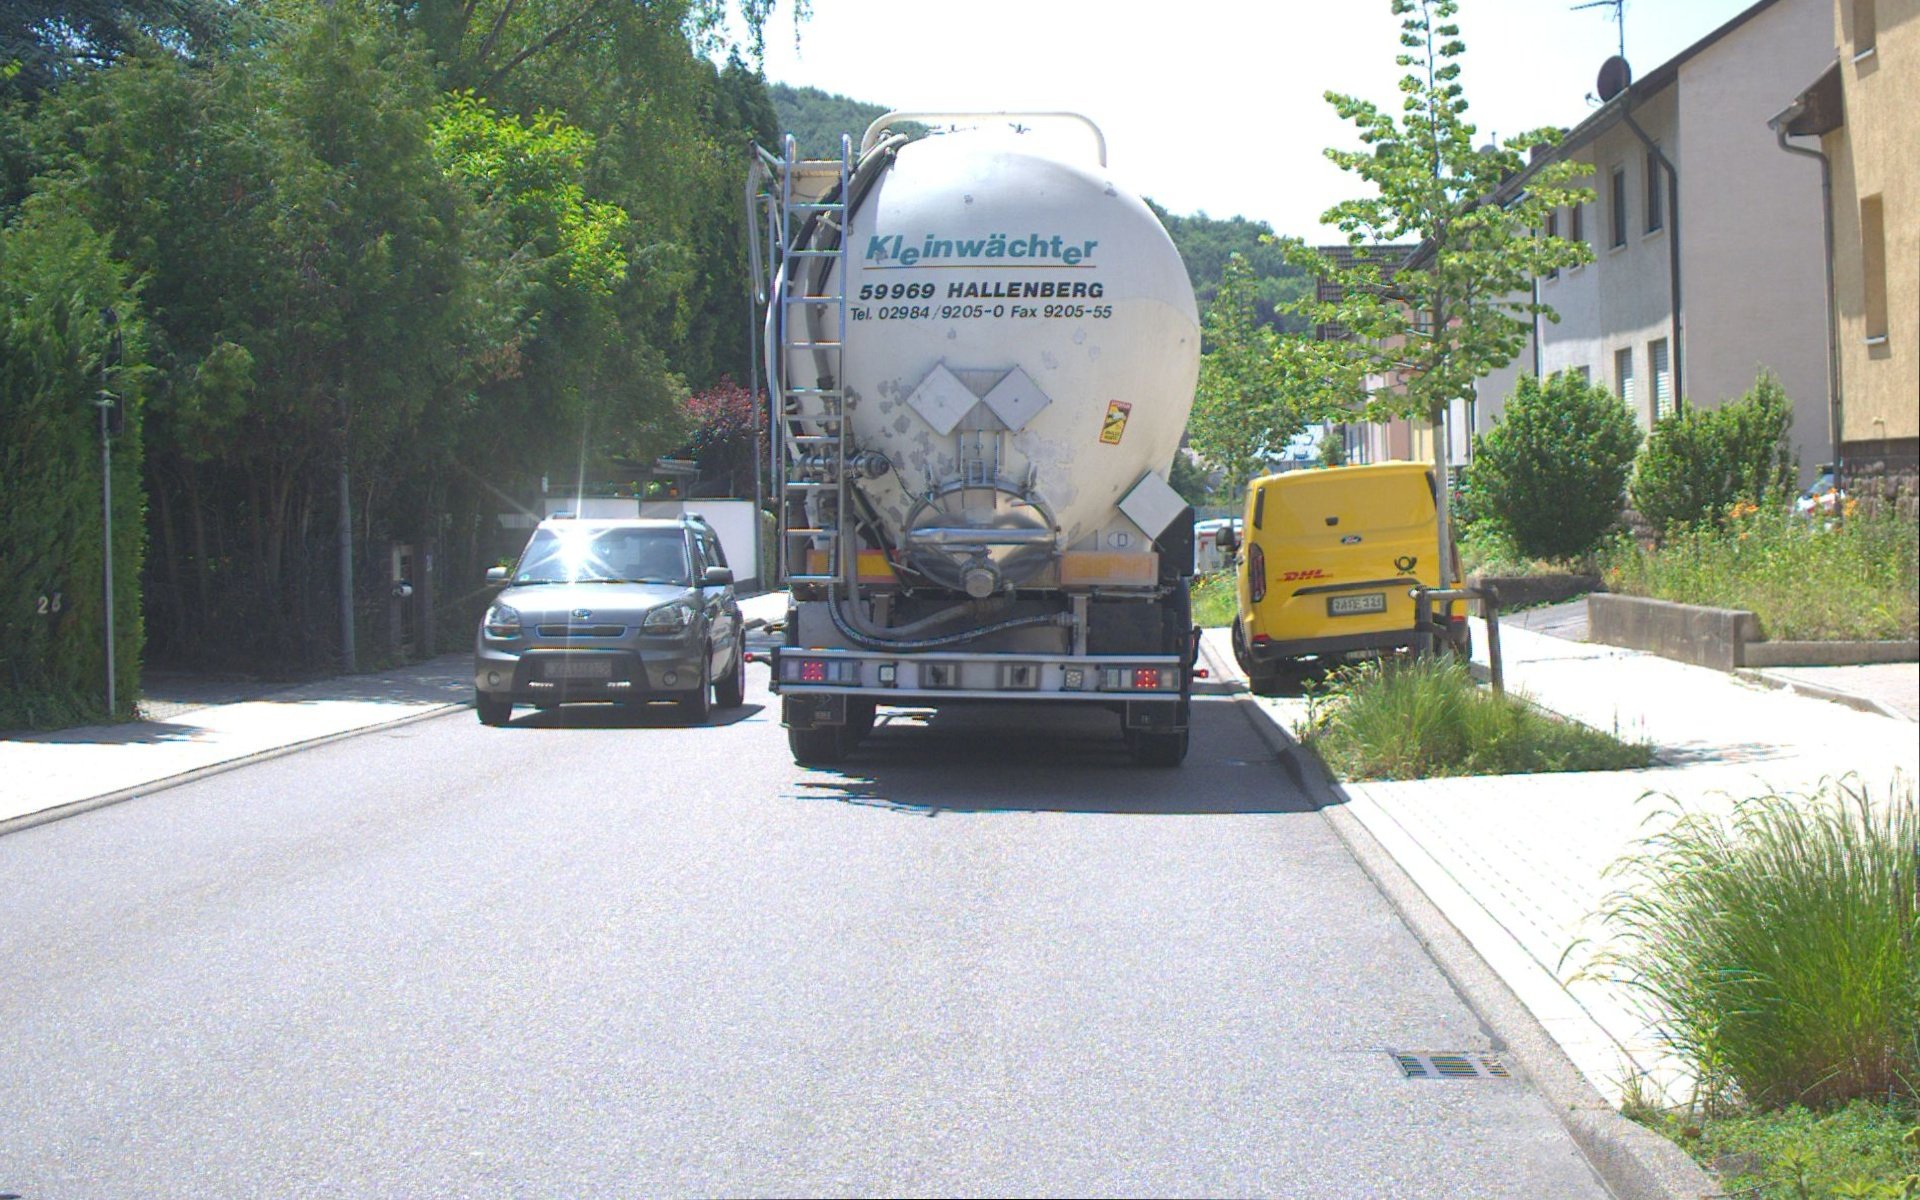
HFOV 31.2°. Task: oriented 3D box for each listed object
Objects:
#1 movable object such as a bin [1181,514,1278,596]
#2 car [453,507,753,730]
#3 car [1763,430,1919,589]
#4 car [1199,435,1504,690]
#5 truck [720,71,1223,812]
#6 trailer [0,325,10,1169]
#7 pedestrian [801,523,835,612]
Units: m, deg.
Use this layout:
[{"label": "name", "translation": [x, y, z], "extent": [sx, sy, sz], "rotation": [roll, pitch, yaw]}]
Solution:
[{"label": "movable object such as a bin", "translation": [4.836, -0.804, 62.073], "extent": [1.572, 1.412, 3.041], "rotation": [-2, 0, 2]}, {"label": "car", "translation": [-2.804, 0.087, 27.782], "extent": [1.867, 1.647, 3.949], "rotation": [1, 2, 2]}, {"label": "car", "translation": [11.366, -1.114, 38.994], "extent": [3.987, 1.671, 1.874], "rotation": [-4, 1, 0]}, {"label": "car", "translation": [3.563, -0.348, 32.390], "extent": [2.189, 2.007, 5.623], "rotation": [-5, 0, 1]}, {"label": "truck", "translation": [0.311, -0.996, 24.289], "extent": [2.750, 4.043, 10.889], "rotation": [0, 1, 3]}, {"label": "trailer", "translation": [-3.355, 0.364, 5.017], "extent": [2.155, 1.980, 6.201], "rotation": [1, 0, 1]}, {"label": "pedestrian", "translation": [-3.237, -0.747, 78.391], "extent": [0.720, 2.007, 0.804], "rotation": [1, 0, 2]}]
